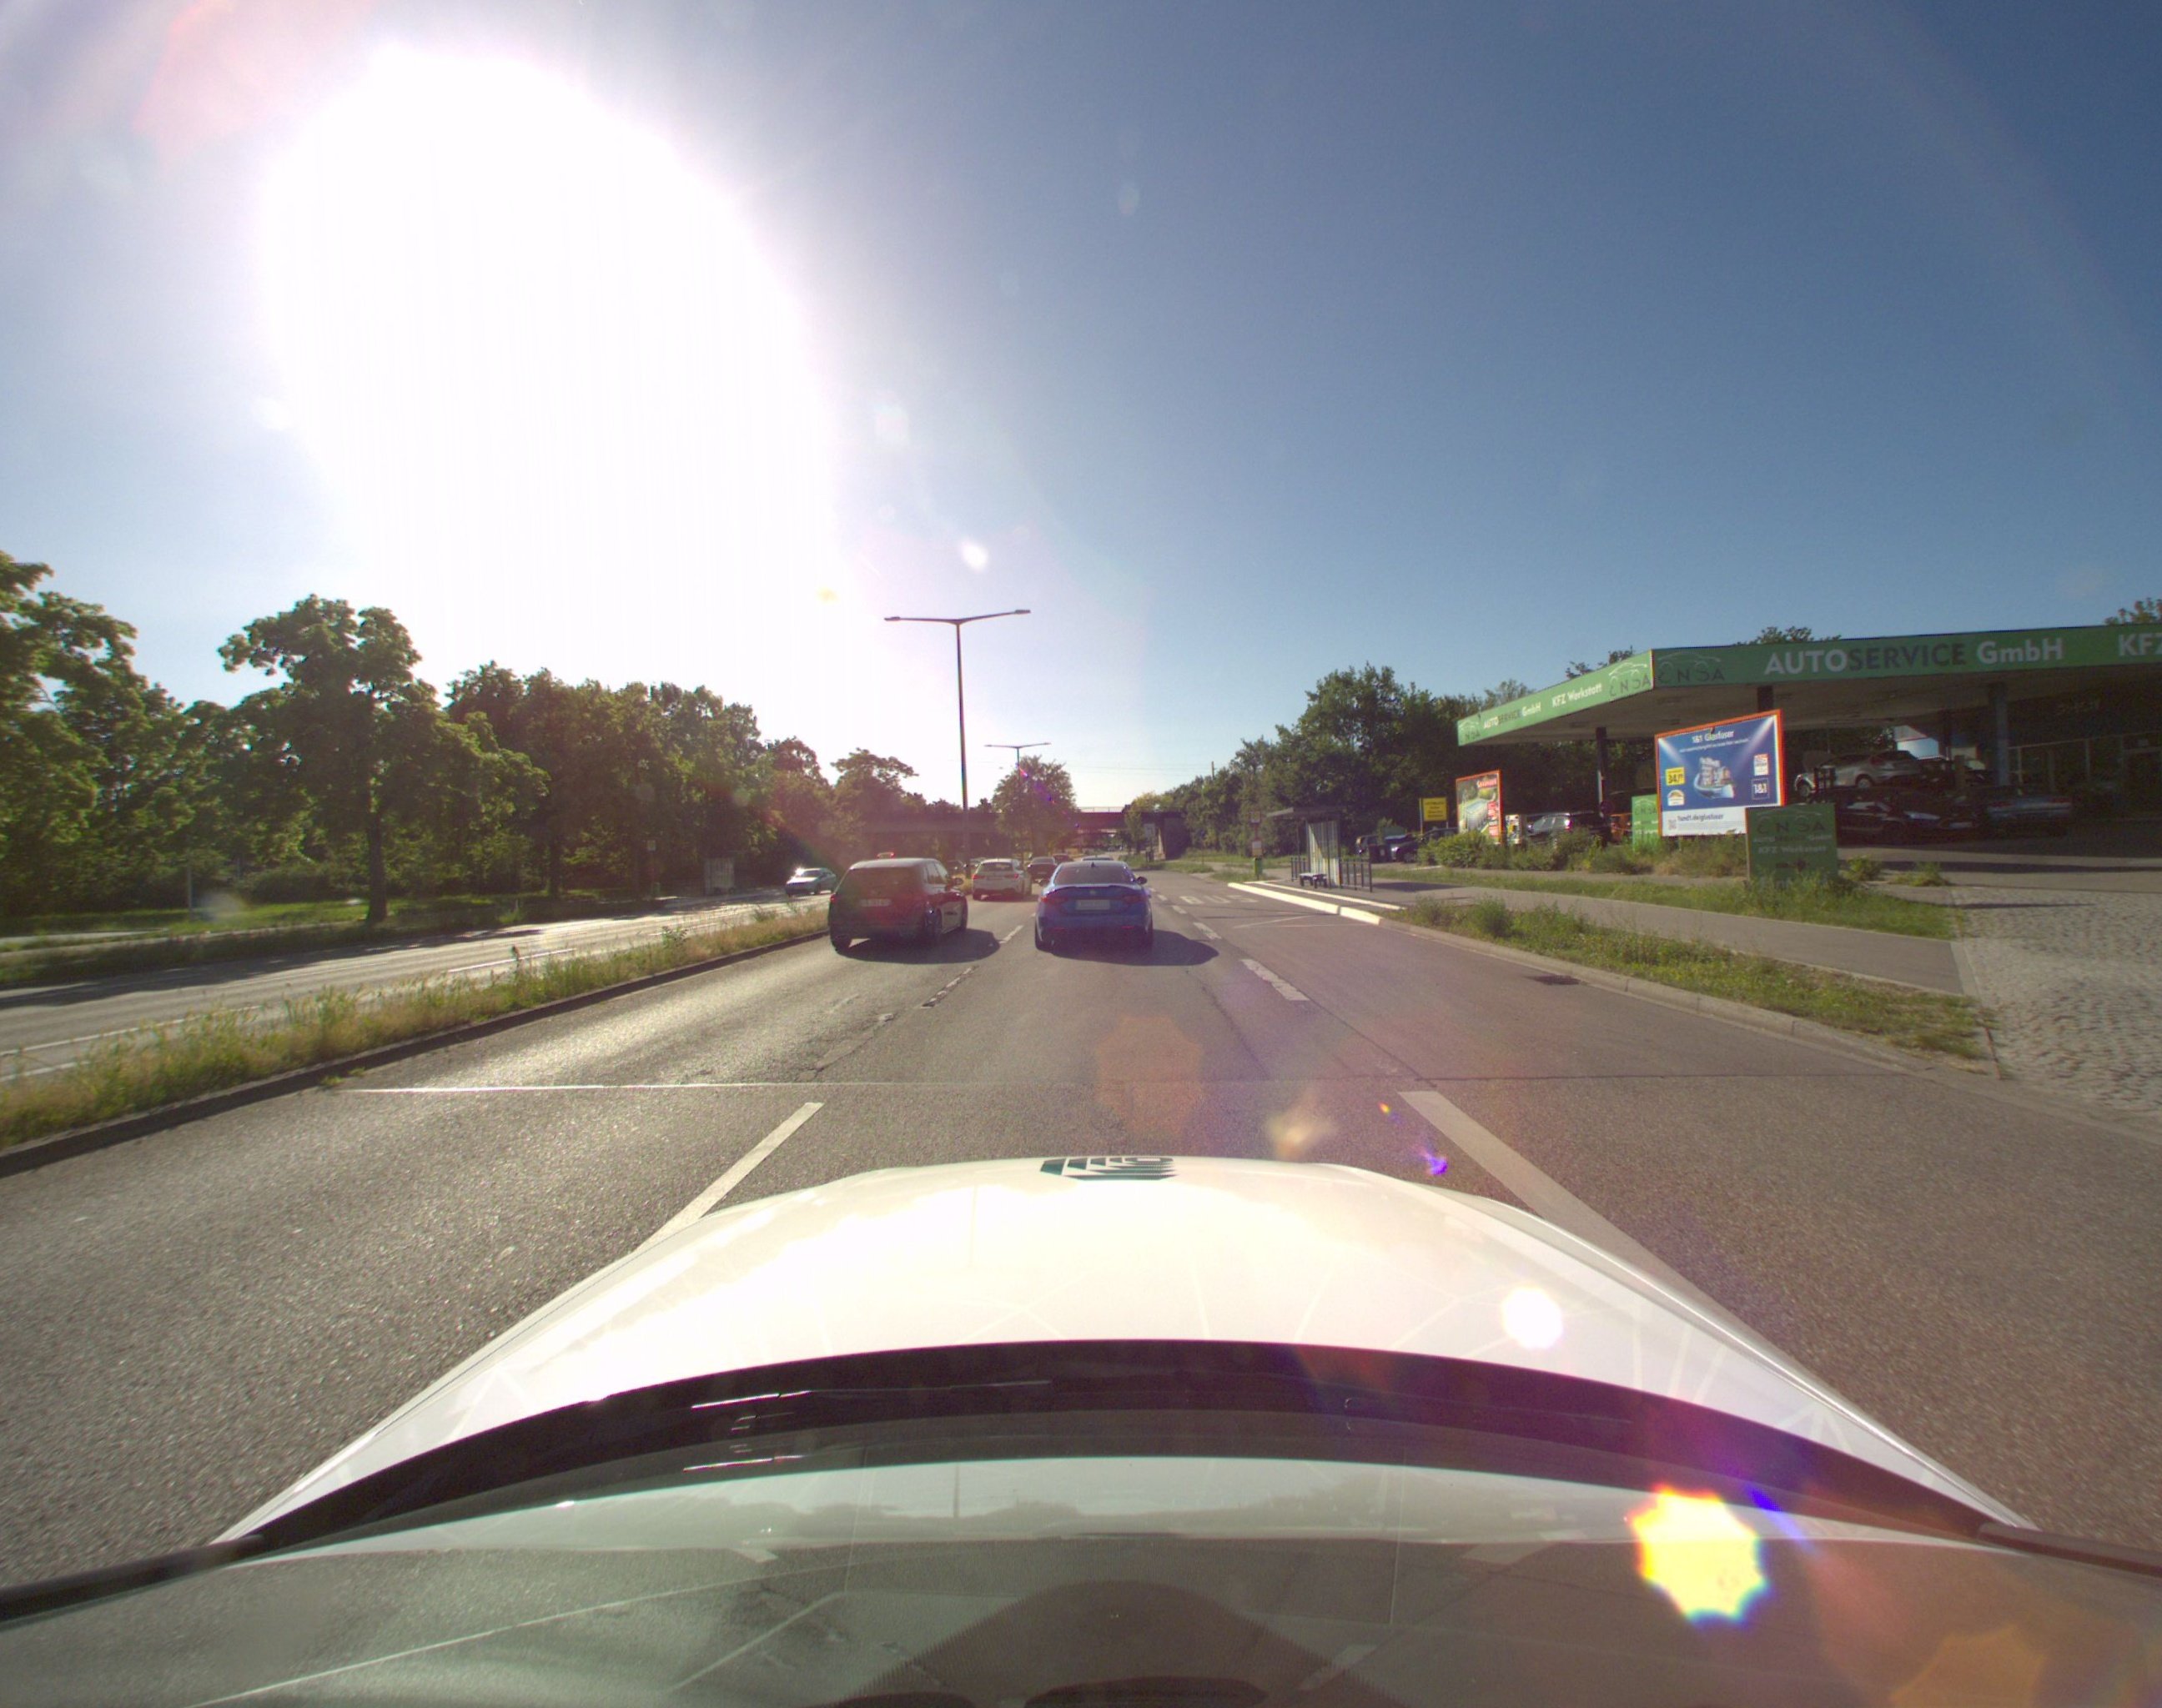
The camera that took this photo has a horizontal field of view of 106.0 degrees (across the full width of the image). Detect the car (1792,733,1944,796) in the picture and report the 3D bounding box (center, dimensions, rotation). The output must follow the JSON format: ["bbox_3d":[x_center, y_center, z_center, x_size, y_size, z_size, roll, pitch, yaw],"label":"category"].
[{"bbox_3d":[28.497,-3.193,29.663,1.911,1.755,3.780,-3,-1,3],"label":"car"}]

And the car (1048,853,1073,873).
[{"bbox_3d":[-1.658,0.724,67.918,1.773,1.454,4.183,-3,0,2],"label":"car"}]

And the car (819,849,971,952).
[{"bbox_3d":[-3.246,0.750,15.086,1.701,1.598,4.225,-1,0,2],"label":"car"}]

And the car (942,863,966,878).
[{"bbox_3d":[-13.331,1.698,85.742,1.635,1.451,4.113,-4,0,1],"label":"car"}]

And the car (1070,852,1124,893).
[{"bbox_3d":[0.638,0.672,31.288,1.876,1.454,4.528,-1,0,2],"label":"car"}]

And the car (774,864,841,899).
[{"bbox_3d":[-14.701,1.451,44.075,1.986,1.684,4.178,-4,0,2],"label":"car"}]

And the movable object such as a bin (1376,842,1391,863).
[{"bbox_3d":[16.588,-0.090,44.678,0.585,1.121,0.504,-2,0,-40],"label":"movable object such as a bin"}]

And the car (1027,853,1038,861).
[{"bbox_3d":[-10.030,0.622,168.387,1.810,1.442,4.091,-3,0,1],"label":"car"}]

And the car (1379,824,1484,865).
[{"bbox_3d":[17.674,-0.477,41.120,4.501,1.640,1.813,-5,-1,31],"label":"car"}]

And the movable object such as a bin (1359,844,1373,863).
[{"bbox_3d":[15.869,-0.028,45.343,0.585,1.074,0.504,-2,0,-40],"label":"movable object such as a bin"}]

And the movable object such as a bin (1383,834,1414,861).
[{"bbox_3d":[17.120,-0.347,43.912,0.994,1.428,1.245,-2,0,-41],"label":"movable object such as a bin"}]

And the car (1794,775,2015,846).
[{"bbox_3d":[22.053,-1.089,22.079,1.986,1.647,4.001,-1,0,2],"label":"car"}]

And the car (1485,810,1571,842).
[{"bbox_3d":[26.268,-1.638,47.985,4.021,1.531,1.735,-5,-1,3],"label":"car"}]

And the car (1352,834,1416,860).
[{"bbox_3d":[18.388,-0.419,49.511,3.270,1.486,1.773,-1,0,3],"label":"car"}]

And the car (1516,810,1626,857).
[{"bbox_3d":[18.551,-0.735,31.068,1.737,1.573,4.251,-3,0,3],"label":"car"}]

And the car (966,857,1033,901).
[{"bbox_3d":[-2.940,0.869,30.291,1.876,1.454,4.528,-1,0,2],"label":"car"}]

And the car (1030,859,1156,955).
[{"bbox_3d":[0.242,0.808,14.322,1.876,1.406,4.225,-1,0,2],"label":"car"}]

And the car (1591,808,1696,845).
[{"bbox_3d":[27.356,-1.317,39.678,3.977,1.516,1.696,-3,-1,-3],"label":"car"}]

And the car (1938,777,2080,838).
[{"bbox_3d":[24.463,-1.196,21.623,1.671,1.421,3.727,-1,1,36],"label":"car"}]

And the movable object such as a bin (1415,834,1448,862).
[{"bbox_3d":[18.528,-0.302,43.057,0.994,1.428,1.210,-2,0,-41],"label":"movable object such as a bin"}]

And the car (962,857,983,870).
[{"bbox_3d":[-13.220,1.126,99.503,1.811,1.435,4.632,-4,0,1],"label":"car"}]

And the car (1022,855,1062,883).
[{"bbox_3d":[-2.177,0.822,46.687,1.876,1.454,4.528,-1,0,2],"label":"car"}]
